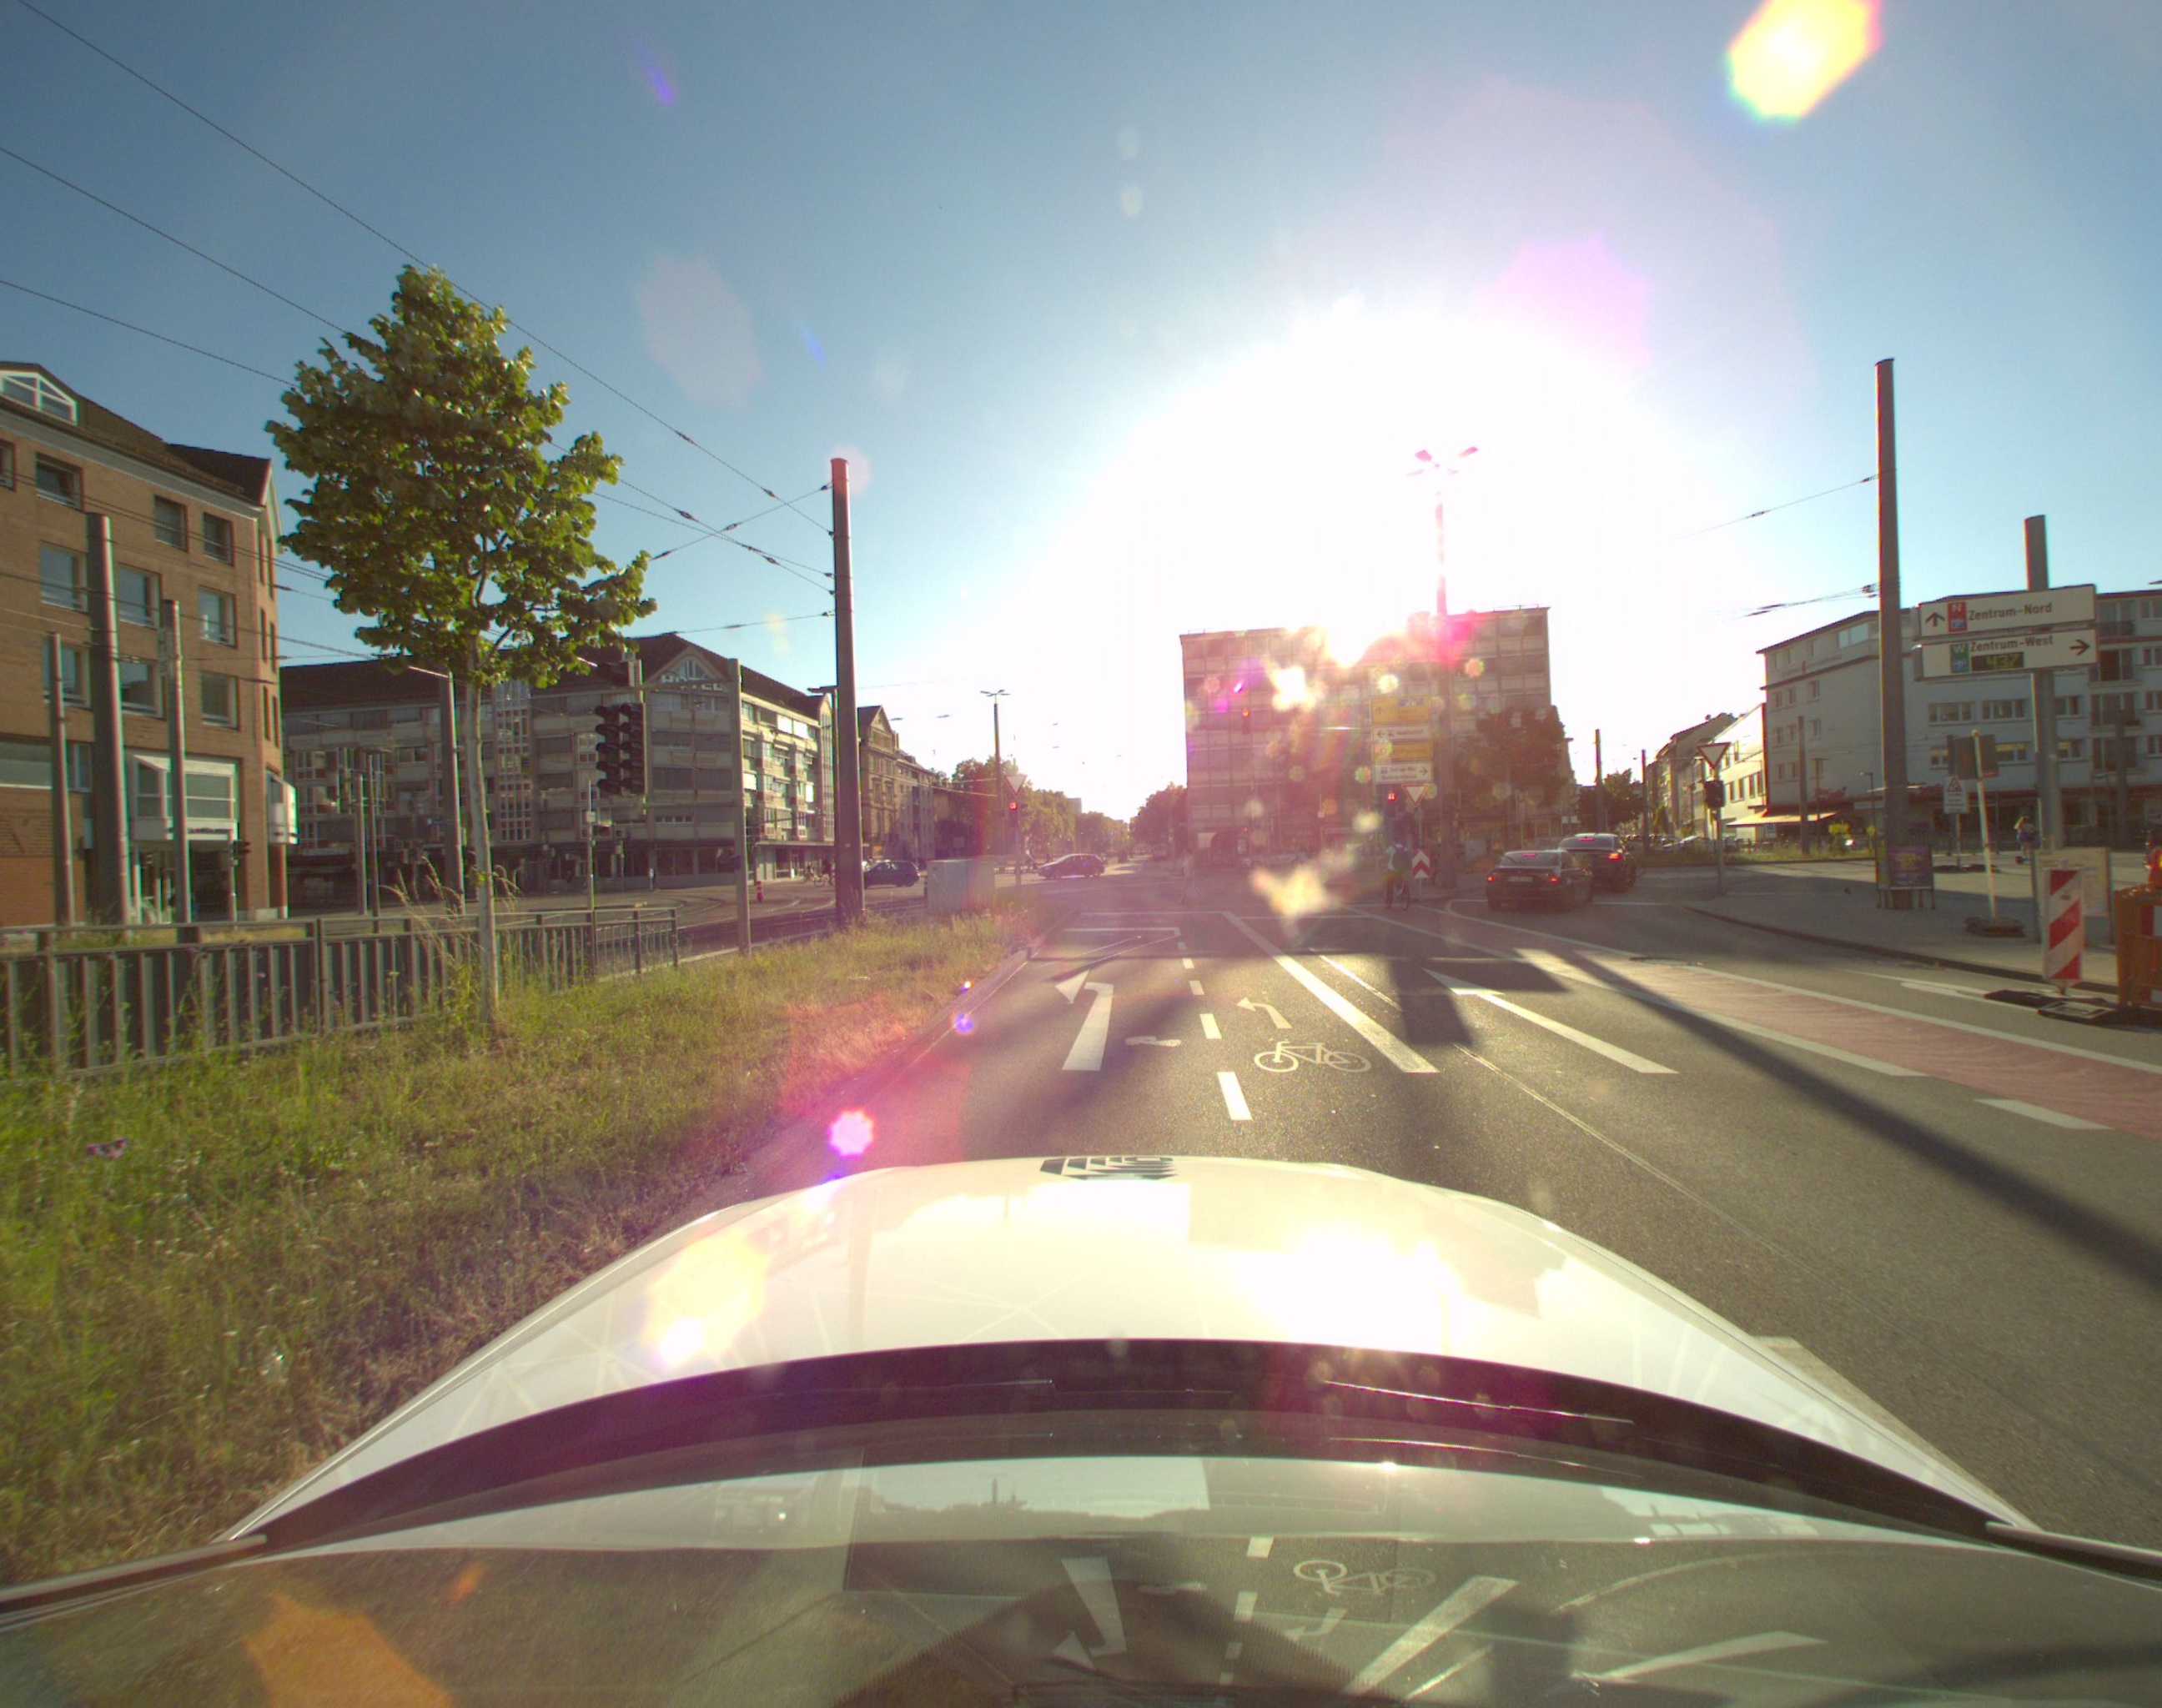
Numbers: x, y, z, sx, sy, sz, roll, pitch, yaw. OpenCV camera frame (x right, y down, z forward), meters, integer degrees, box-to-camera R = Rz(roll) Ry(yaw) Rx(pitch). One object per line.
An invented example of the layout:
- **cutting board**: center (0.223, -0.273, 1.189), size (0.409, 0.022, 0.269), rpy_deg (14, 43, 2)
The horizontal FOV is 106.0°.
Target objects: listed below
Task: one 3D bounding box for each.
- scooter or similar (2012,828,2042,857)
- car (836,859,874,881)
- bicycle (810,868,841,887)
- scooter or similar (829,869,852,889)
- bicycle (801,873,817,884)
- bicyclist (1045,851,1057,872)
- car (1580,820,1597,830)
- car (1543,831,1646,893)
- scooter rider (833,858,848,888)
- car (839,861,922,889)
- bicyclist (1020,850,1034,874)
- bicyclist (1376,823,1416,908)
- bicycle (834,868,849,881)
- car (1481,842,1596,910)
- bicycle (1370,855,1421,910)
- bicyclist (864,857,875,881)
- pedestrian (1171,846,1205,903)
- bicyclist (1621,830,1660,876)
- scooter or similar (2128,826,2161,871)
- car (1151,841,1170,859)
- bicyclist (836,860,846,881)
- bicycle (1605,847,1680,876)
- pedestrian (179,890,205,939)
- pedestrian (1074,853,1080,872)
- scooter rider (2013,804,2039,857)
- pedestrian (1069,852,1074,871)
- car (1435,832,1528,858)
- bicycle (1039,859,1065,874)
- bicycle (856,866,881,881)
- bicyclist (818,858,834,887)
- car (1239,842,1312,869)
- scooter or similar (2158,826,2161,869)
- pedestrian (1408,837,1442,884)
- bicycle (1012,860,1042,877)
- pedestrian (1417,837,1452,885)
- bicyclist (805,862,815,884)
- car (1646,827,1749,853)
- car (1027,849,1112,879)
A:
- **scooter or similar**: center (34.795, -0.417, 29.945), size (1.391, 1.033, 0.489), rpy_deg (-2, 0, -31)
- **car**: center (-21.233, 1.511, 76.749), size (1.983, 1.859, 4.008), rpy_deg (-3, 0, 7)
- **bicycle**: center (-15.625, 1.453, 49.763), size (0.528, 1.072, 1.793), rpy_deg (-3, 0, 38)
- **scooter or similar**: center (-13.959, 1.431, 47.258), size (1.170, 1.072, 0.529), rpy_deg (-3, 0, -5)
- **bicycle**: center (-24.227, 2.166, 72.674), size (0.595, 0.915, 1.839), rpy_deg (-3, 0, 6)
- **bicyclist**: center (-2.556, 0.610, 68.314), size (0.895, 1.752, 0.650), rpy_deg (-3, 0, 0)
- **car**: center (76.385, -4.332, 122.629), size (1.974, 1.398, 4.026), rpy_deg (-3, 0, 31)
- **car**: center (15.649, 0.175, 24.749), size (1.975, 1.693, 4.025), rpy_deg (0, 2, 42)
- **scooter rider**: center (-13.965, 1.108, 47.258), size (0.662, 1.712, 0.525), rpy_deg (-2, 0, -5)
- **car**: center (-10.938, 1.140, 44.419), size (4.015, 1.288, 1.828), rpy_deg (-3, 0, -32)
- **bicyclist**: center (-4.035, 0.597, 60.798), size (0.895, 1.752, 0.655), rpy_deg (-3, 0, 0)
- **bicyclist**: center (7.656, 0.259, 19.817), size (0.640, 2.013, 1.069), rpy_deg (0, 1, 5)
- **bicycle**: center (-23.134, 1.995, 78.606), size (0.604, 1.201, 1.972), rpy_deg (-2, 0, 8)
- **car**: center (11.036, 0.472, 19.504), size (1.727, 1.426, 4.026), rpy_deg (-2, 0, 39)
- **bicycle**: center (7.658, 0.661, 19.937), size (0.641, 1.223, 2.052), rpy_deg (0, 2, 5)
- **bicyclist**: center (-15.692, 1.108, 60.503), size (0.662, 1.712, 0.537), rpy_deg (-2, 0, -5)
- **pedestrian**: center (3.104, 0.590, 23.656), size (0.874, 1.597, 0.656), rpy_deg (-2, 0, 4)
- **bicyclist**: center (20.859, -0.025, 30.380), size (0.953, 1.661, 0.693), rpy_deg (-2, 0, 8)
- **scooter or similar**: center (30.882, -0.170, 23.407), size (0.563, 1.259, 1.352), rpy_deg (-2, 0, 34)
- **car**: center (11.414, -0.568, 117.717), size (2.475, 2.392, 5.941), rpy_deg (-4, 0, 4)
- **bicyclist**: center (-23.135, 1.581, 78.612), size (0.599, 2.013, 0.781), rpy_deg (-2, 0, 8)
- **bicycle**: center (20.909, 0.280, 30.371), size (2.214, 1.026, 0.683), rpy_deg (-2, 0, 7)
- **pedestrian**: center (-33.919, 2.304, 31.059), size (0.495, 1.807, 0.546), rpy_deg (-3, 0, 32)
- **pedestrian**: center (-0.337, 0.700, 65.857), size (0.365, 1.508, 0.542), rpy_deg (-3, 0, -2)
- **scooter rider**: center (34.713, -0.863, 29.918), size (0.535, 1.920, 0.496), rpy_deg (-2, 0, -31)
- **pedestrian**: center (-0.767, 0.599, 65.205), size (0.365, 1.508, 0.542), rpy_deg (-3, 0, -2)
- **car**: center (25.459, -0.550, 51.935), size (4.892, 1.479, 2.005), rpy_deg (-2, 0, 8)
- **bicycle**: center (-2.430, 1.080, 68.317), size (2.166, 1.137, 0.659), rpy_deg (-3, 0, 0)
- **bicycle**: center (-15.776, 1.446, 60.494), size (1.729, 1.059, 0.538), rpy_deg (-3, 0, -6)
- **bicyclist**: center (-15.614, 1.126, 49.798), size (0.531, 1.712, 0.670), rpy_deg (-3, 0, 38)
- **car**: center (12.722, 0.091, 53.365), size (4.313, 1.596, 2.002), rpy_deg (-3, 0, 3)
- **scooter or similar**: center (31.392, -0.177, 23.107), size (0.563, 1.259, 1.352), rpy_deg (-2, 0, 34)
- **pedestrian**: center (12.222, 0.228, 28.952), size (0.875, 1.597, 0.656), rpy_deg (-2, 0, 2)
- **bicycle**: center (-4.031, 1.073, 60.800), size (2.087, 1.137, 0.658), rpy_deg (-3, 0, 0)
- **pedestrian**: center (12.248, 0.243, 28.215), size (0.875, 1.597, 0.656), rpy_deg (-2, 0, 2)
- **bicyclist**: center (-24.234, 1.689, 72.768), size (0.590, 1.862, 0.643), rpy_deg (-3, 0, 6)
- **car**: center (39.613, -0.910, 52.463), size (4.888, 1.479, 2.006), rpy_deg (-2, 0, 11)
- **car**: center (-0.706, 0.593, 50.063), size (4.778, 1.596, 1.987), rpy_deg (-3, 0, -19)
